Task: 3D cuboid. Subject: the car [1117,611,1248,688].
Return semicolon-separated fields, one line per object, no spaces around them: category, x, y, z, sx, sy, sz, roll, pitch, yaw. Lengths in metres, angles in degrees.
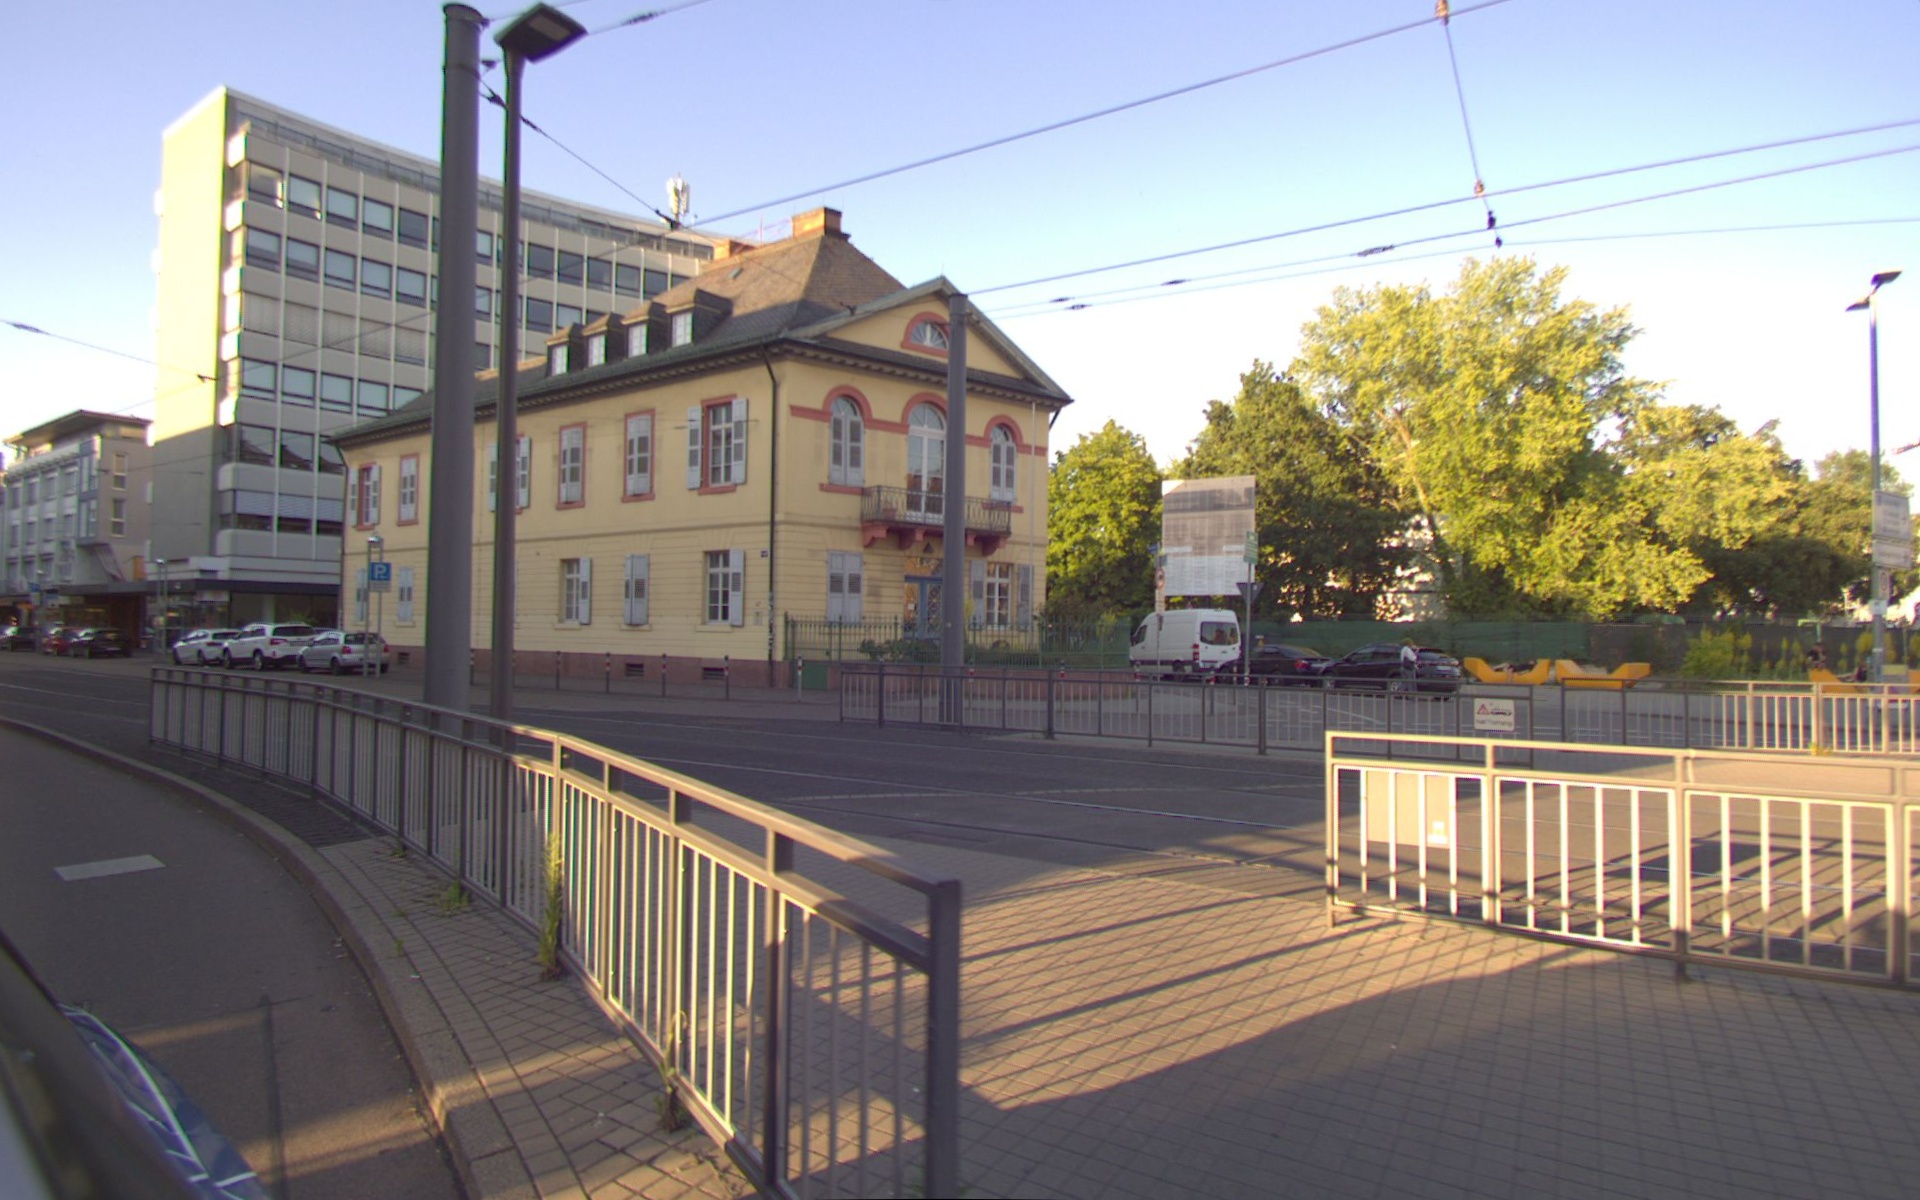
car;8.154;1.805;37.758;2.062;2.650;5.443;2;-3;-22

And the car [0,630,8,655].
car;-59.367;2.544;60.958;4.547;1.477;1.976;-1;-2;34

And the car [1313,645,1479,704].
car;12.038;2.017;28.222;1.965;1.497;4.013;2;-3;-23

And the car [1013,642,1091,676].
car;4.256;2.747;47.485;1.965;1.497;4.107;2;-3;-23

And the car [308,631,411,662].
car;-29.651;2.307;50.043;1.843;1.478;3.950;-1;-3;37

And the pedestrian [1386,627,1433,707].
pedestrian;10.880;1.606;24.499;0.717;1.907;0.768;2;-3;-31

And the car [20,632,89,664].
car;-46.180;2.436;51.602;4.206;1.523;1.671;-1;-6;36

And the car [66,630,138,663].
car;-41.649;2.230;49.105;4.206;1.523;1.671;-1;-2;36

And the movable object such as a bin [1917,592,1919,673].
movable object such as a bin;40.450;1.280;39.463;1.969;3.254;4.350;3;-3;-40

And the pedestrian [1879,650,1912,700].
pedestrian;29.038;2.325;31.414;0.624;1.507;0.634;-1;-3;34

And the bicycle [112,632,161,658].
bicycle;-46.608;2.578;57.278;0.832;1.436;1.952;-1;-3;33

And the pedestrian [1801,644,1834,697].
pedestrian;27.703;2.268;32.698;0.595;1.671;0.533;0;-3;16

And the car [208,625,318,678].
car;-25.523;1.829;37.024;4.485;1.799;1.798;-1;-1;34

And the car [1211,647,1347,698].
car;10.164;2.287;32.546;1.965;1.497;4.107;2;-3;-23

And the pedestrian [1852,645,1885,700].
pedestrian;28.443;2.261;31.693;0.597;1.671;0.531;-1;-3;27

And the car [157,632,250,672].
car;-30.542;2.080;40.832;4.424;1.523;1.795;-1;-3;37

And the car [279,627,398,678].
car;-21.108;1.742;34.327;4.202;1.629;1.798;-1;-3;33
